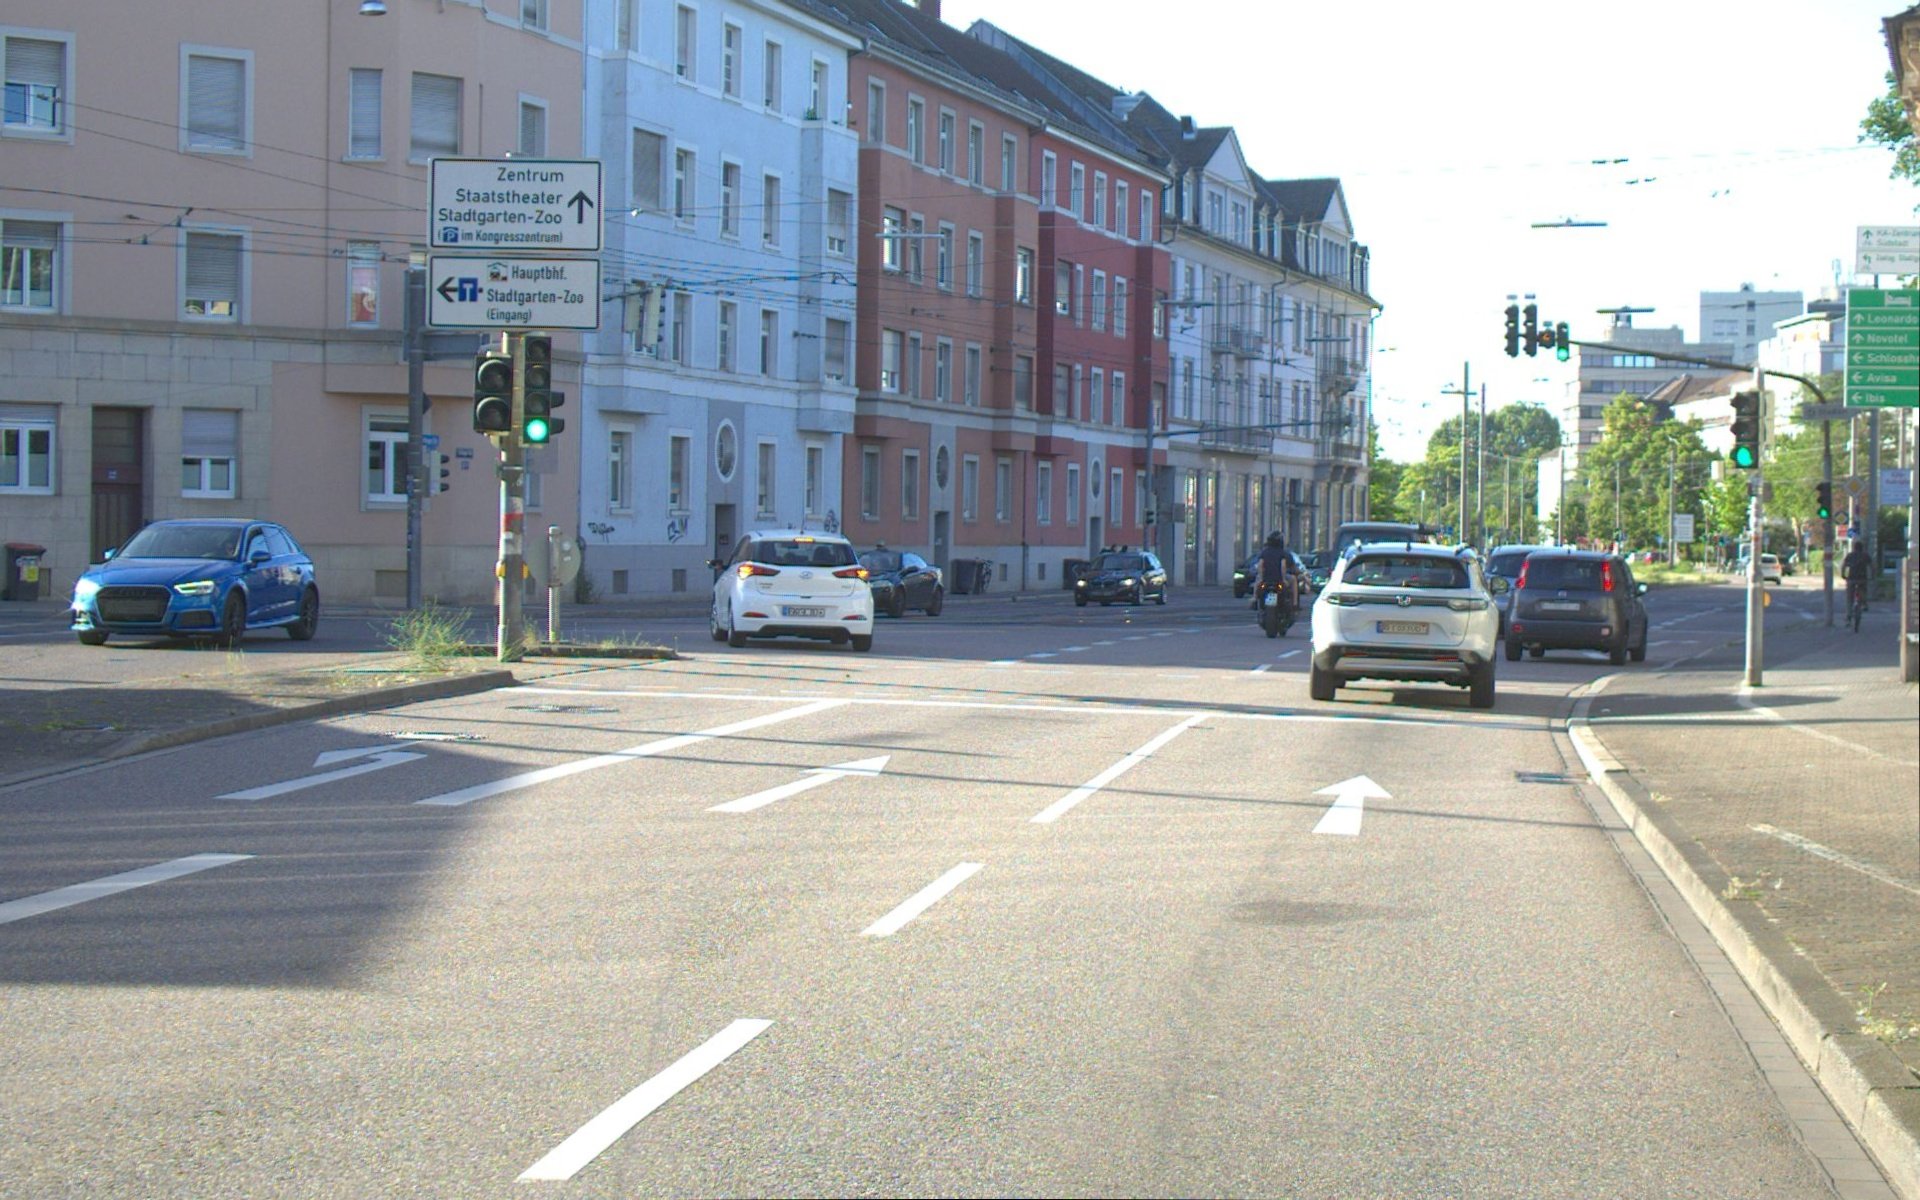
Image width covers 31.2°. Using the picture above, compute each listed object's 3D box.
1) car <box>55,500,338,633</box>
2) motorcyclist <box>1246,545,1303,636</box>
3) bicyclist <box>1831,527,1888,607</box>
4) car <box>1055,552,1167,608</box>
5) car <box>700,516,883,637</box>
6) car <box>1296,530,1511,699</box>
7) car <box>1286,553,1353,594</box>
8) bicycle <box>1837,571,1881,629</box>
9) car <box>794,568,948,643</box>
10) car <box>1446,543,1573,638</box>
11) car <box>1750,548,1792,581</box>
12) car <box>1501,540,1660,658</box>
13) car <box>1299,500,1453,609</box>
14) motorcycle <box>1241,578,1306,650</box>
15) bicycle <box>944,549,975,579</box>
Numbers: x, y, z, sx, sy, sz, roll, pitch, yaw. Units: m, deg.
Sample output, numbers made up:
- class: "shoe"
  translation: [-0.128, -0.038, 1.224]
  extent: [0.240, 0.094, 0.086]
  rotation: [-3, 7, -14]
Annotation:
- class: "car"
  translation: [-8.643, -0.408, 39.285]
  extent: [1.811, 1.386, 4.246]
  rotation: [2, 1, 7]
- class: "motorcyclist"
  translation: [5.004, -0.164, 54.695]
  extent: [0.777, 1.418, 0.891]
  rotation: [1, 1, 11]
- class: "bicyclist"
  translation: [17.423, -0.635, 66.606]
  extent: [0.834, 1.520, 0.994]
  rotation: [2, 1, 3]
- class: "car"
  translation: [4.028, -0.538, 91.067]
  extent: [1.995, 1.387, 4.558]
  rotation: [2, 1, 15]
- class: "car"
  translation: [-2.141, -0.316, 42.718]
  extent: [1.786, 1.389, 4.106]
  rotation: [1, 1, -9]
- class: "car"
  translation: [4.436, 0.095, 34.192]
  extent: [1.948, 1.523, 4.088]
  rotation: [2, 1, 8]
- class: "car"
  translation: [12.445, -0.935, 118.793]
  extent: [1.727, 1.370, 3.532]
  rotation: [1, 1, 16]
- class: "bicycle"
  translation: [17.402, -0.012, 66.550]
  extent: [0.771, 1.082, 1.870]
  rotation: [2, 1, 15]
- class: "car"
  translation: [-1.769, 0.094, 69.764]
  extent: [1.825, 1.421, 4.324]
  rotation: [2, 1, 17]
- class: "car"
  translation: [9.670, -0.177, 60.313]
  extent: [1.815, 1.576, 3.997]
  rotation: [1, 1, 14]
- class: "car"
  translation: [43.569, -1.918, 184.599]
  extent: [1.995, 1.656, 4.494]
  rotation: [2, 1, 15]
- class: "car"
  translation: [8.615, -0.044, 47.485]
  extent: [1.732, 1.495, 3.997]
  rotation: [2, 1, 16]
- class: "car"
  translation: [8.113, -0.875, 66.704]
  extent: [2.174, 2.002, 4.804]
  rotation: [1, 1, 16]
- class: "motorcycle"
  translation: [5.004, 0.205, 54.782]
  extent: [0.777, 1.078, 2.280]
  rotation: [1, 1, 11]
- class: "bicycle"
  translation: [-0.006, -1.065, 101.722]
  extent: [0.335, 0.887, 1.602]
  rotation: [1, 1, 21]
